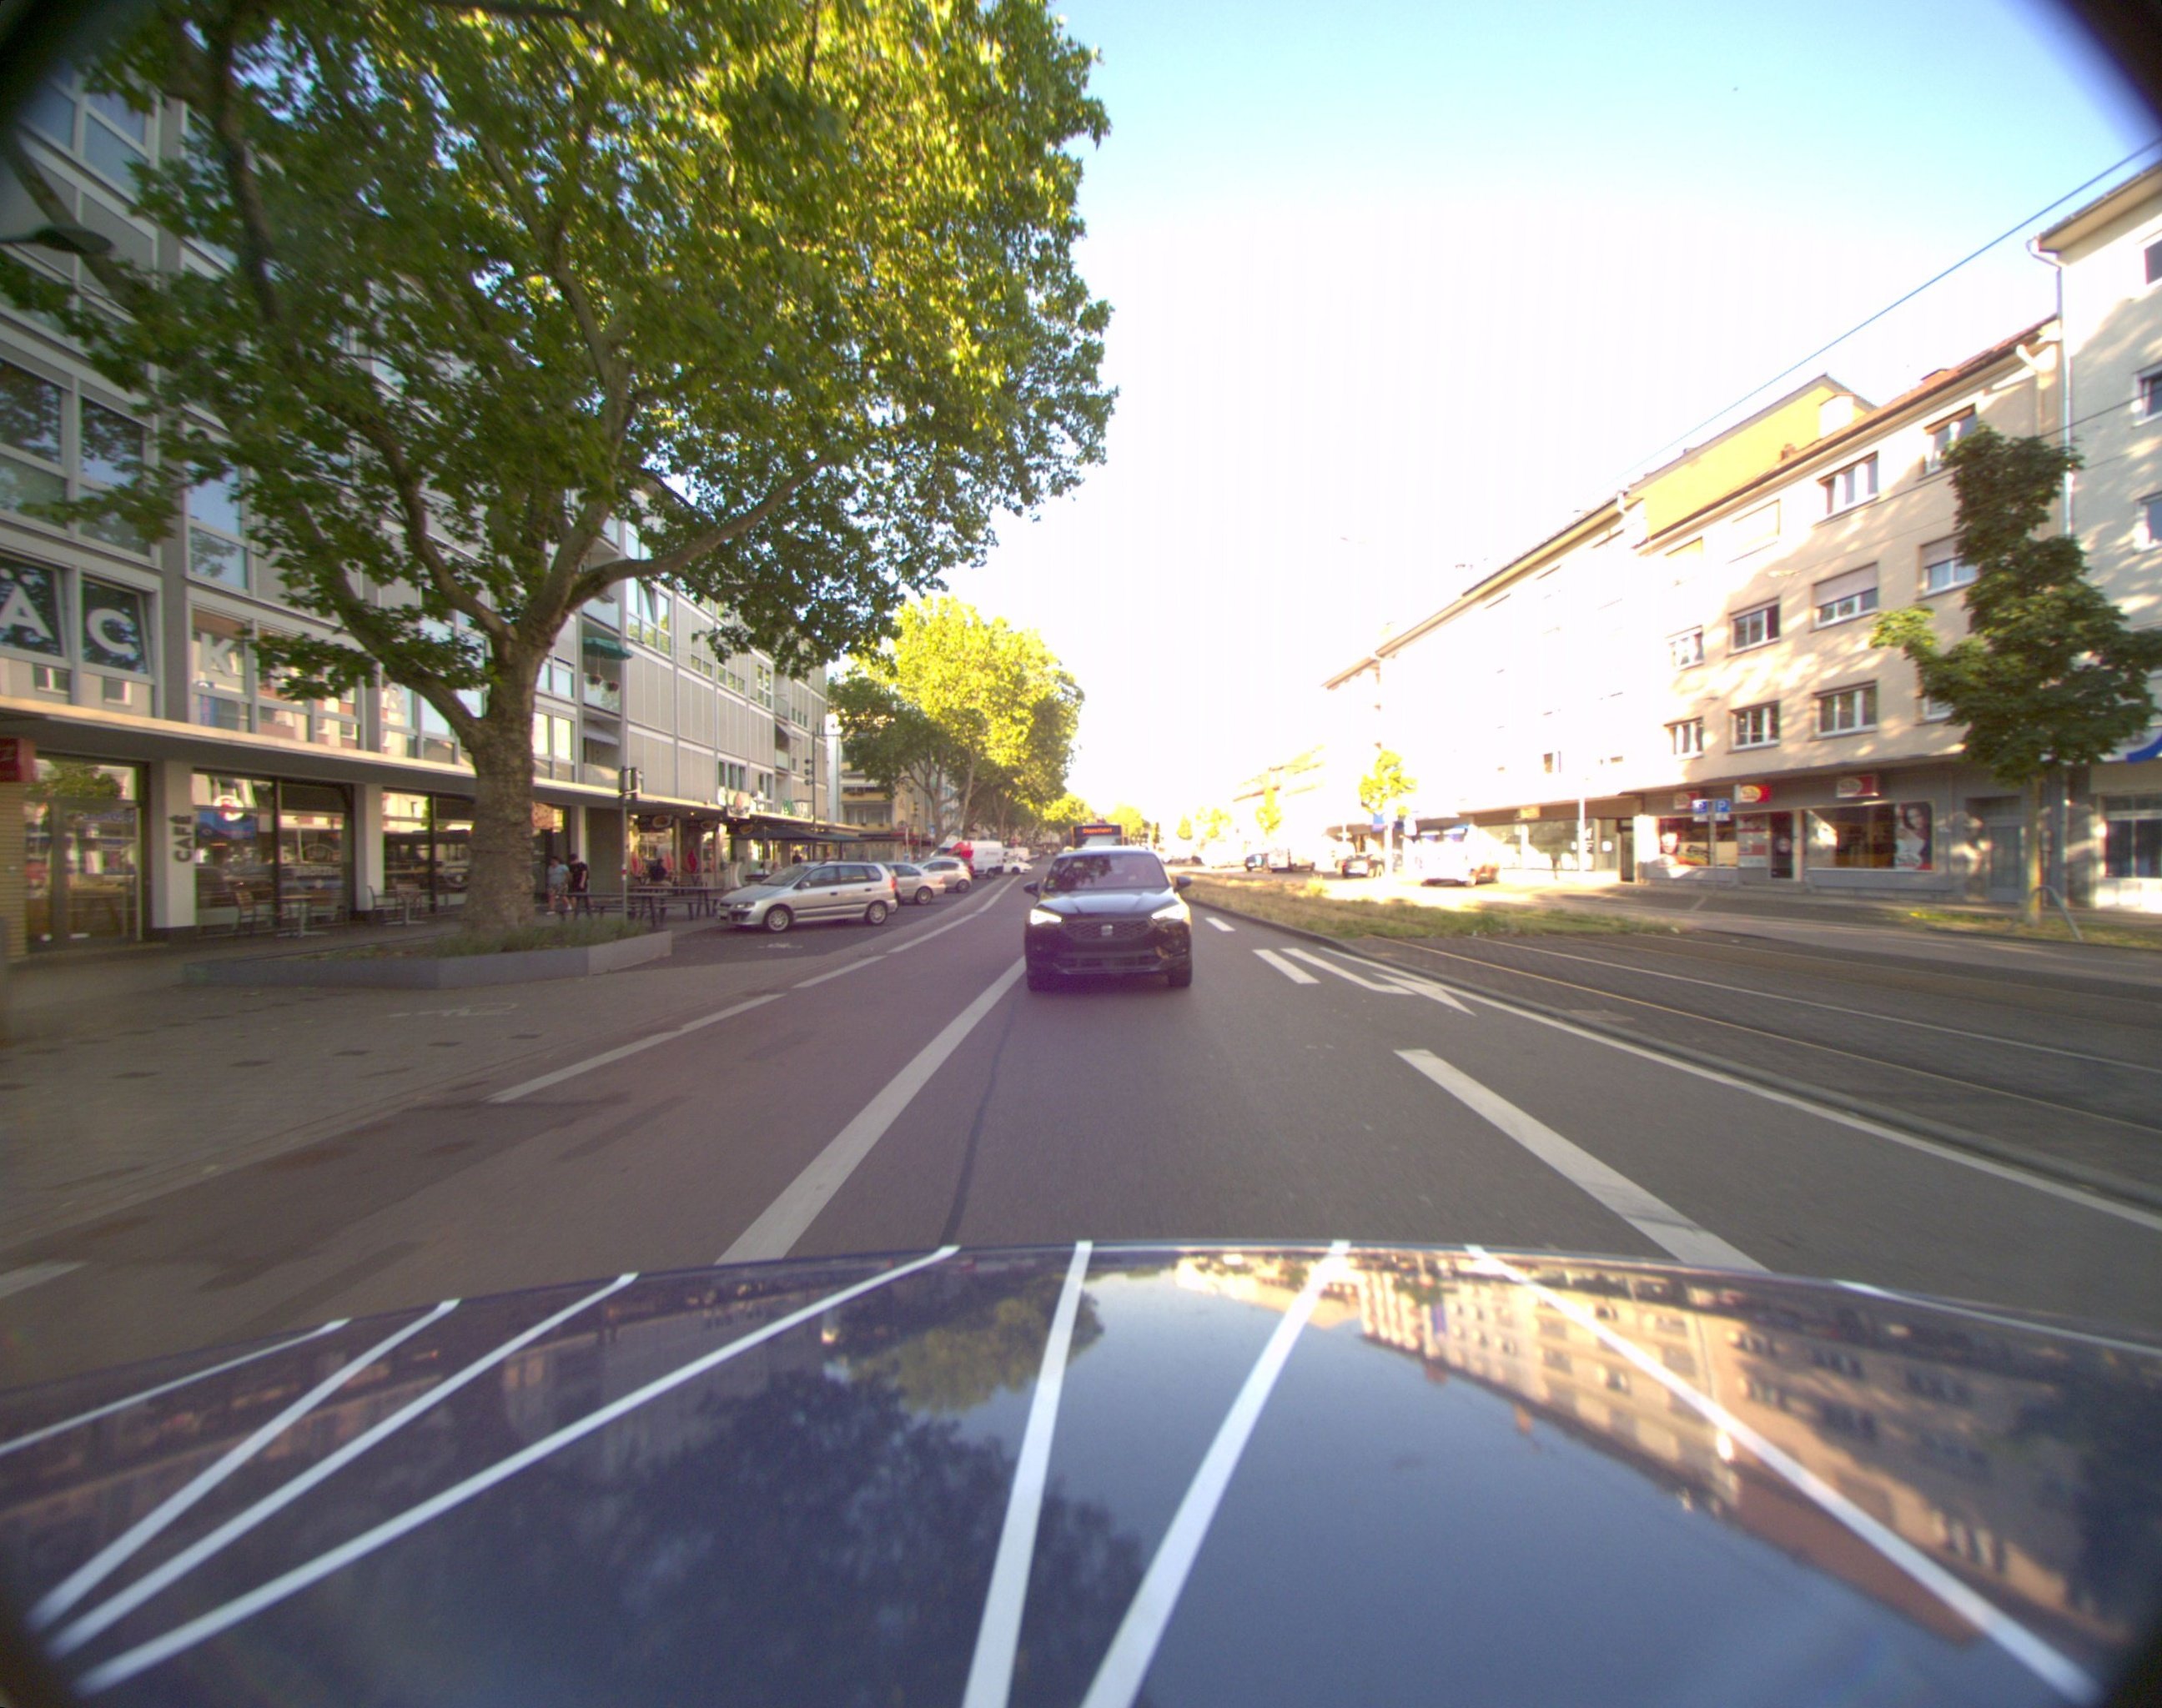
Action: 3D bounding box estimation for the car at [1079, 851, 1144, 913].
[{"bbox_3d":[0.845,0.715,21.666,1.658,1.571,4.000,-1,0,1],"label":"car"}]

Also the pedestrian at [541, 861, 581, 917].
[{"bbox_3d":[-13.274,0.884,19.399,0.538,1.392,0.687,2,1,-3],"label":"pedestrian"}]

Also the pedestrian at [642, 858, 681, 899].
[{"bbox_3d":[-14.334,0.832,25.983,0.750,1.354,0.962,0,1,2],"label":"pedestrian"}]

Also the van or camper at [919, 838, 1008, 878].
[{"bbox_3d":[-7.577,0.200,49.247,5.474,2.455,1.994,-1,1,-42],"label":"van or camper"}]

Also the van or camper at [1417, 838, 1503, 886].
[{"bbox_3d":[16.898,0.330,33.769,4.824,1.887,1.946,-3,1,-45],"label":"van or camper"}]

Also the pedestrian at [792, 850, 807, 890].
[{"bbox_3d":[-14.289,0.807,38.576,0.552,2.002,0.577,-3,1,-16],"label":"pedestrian"}]

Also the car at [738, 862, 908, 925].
[{"bbox_3d":[-6.908,0.987,20.670,1.804,1.498,4.008,0,0,40],"label":"car"}]

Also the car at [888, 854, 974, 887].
[{"bbox_3d":[-7.579,0.800,38.644,4.008,1.514,1.655,0,2,-42],"label":"car"}]

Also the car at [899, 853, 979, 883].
[{"bbox_3d":[-7.787,0.730,41.847,4.008,1.555,1.655,0,2,-42],"label":"car"}]

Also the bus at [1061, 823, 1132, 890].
[{"bbox_3d":[0.554,-0.015,40.923,2.872,2.962,12.234,-3,1,-3],"label":"bus"}]

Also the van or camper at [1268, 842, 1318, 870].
[{"bbox_3d":[16.416,0.154,58.699,1.795,1.978,4.460,-2,1,43],"label":"van or camper"}]

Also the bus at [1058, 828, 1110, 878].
[{"bbox_3d":[0.007,-0.196,53.184,2.872,2.962,12.234,-3,1,-3],"label":"bus"}]

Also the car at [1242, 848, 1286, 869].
[{"bbox_3d":[15.792,0.362,65.583,1.874,1.577,4.007,-2,1,44],"label":"car"}]

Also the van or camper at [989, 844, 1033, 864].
[{"bbox_3d":[-8.852,-0.027,96.474,5.474,2.455,1.994,-1,1,-45],"label":"van or camper"}]

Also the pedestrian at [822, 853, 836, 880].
[{"bbox_3d":[-15.205,0.752,45.822,0.540,1.582,0.685,1,1,-39],"label":"pedestrian"}]

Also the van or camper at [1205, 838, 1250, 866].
[{"bbox_3d":[15.372,-0.273,79.513,1.995,2.652,6.410,-2,1,36],"label":"van or camper"}]

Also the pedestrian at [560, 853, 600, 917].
[{"bbox_3d":[-12.675,0.779,19.234,0.538,1.582,0.687,2,1,-3],"label":"pedestrian"}]

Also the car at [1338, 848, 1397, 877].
[{"bbox_3d":[17.043,0.498,45.104,1.765,1.482,4.460,-2,1,41],"label":"car"}]

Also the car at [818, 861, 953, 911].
[{"bbox_3d":[-6.330,0.973,24.944,1.655,1.428,4.008,2,2,44],"label":"car"}]

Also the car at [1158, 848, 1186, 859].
[{"bbox_3d":[13.684,-0.084,114.218,3.920,1.482,1.766,-3,1,-25],"label":"car"}]

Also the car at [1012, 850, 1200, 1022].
[{"bbox_3d":[0.331,0.818,9.580,1.808,1.638,4.000,-3,0,2],"label":"car"}]

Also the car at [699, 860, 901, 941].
[{"bbox_3d":[-6.369,0.972,17.595,1.804,1.597,4.008,0,0,40],"label":"car"}]

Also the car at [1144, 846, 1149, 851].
[{"bbox_3d":[22.310,-1.960,258.861,1.869,1.832,3.827,-1,0,4],"label":"car"}]

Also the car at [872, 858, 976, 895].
[{"bbox_3d":[-6.598,0.899,32.101,4.008,1.428,1.655,0,2,-42],"label":"car"}]
